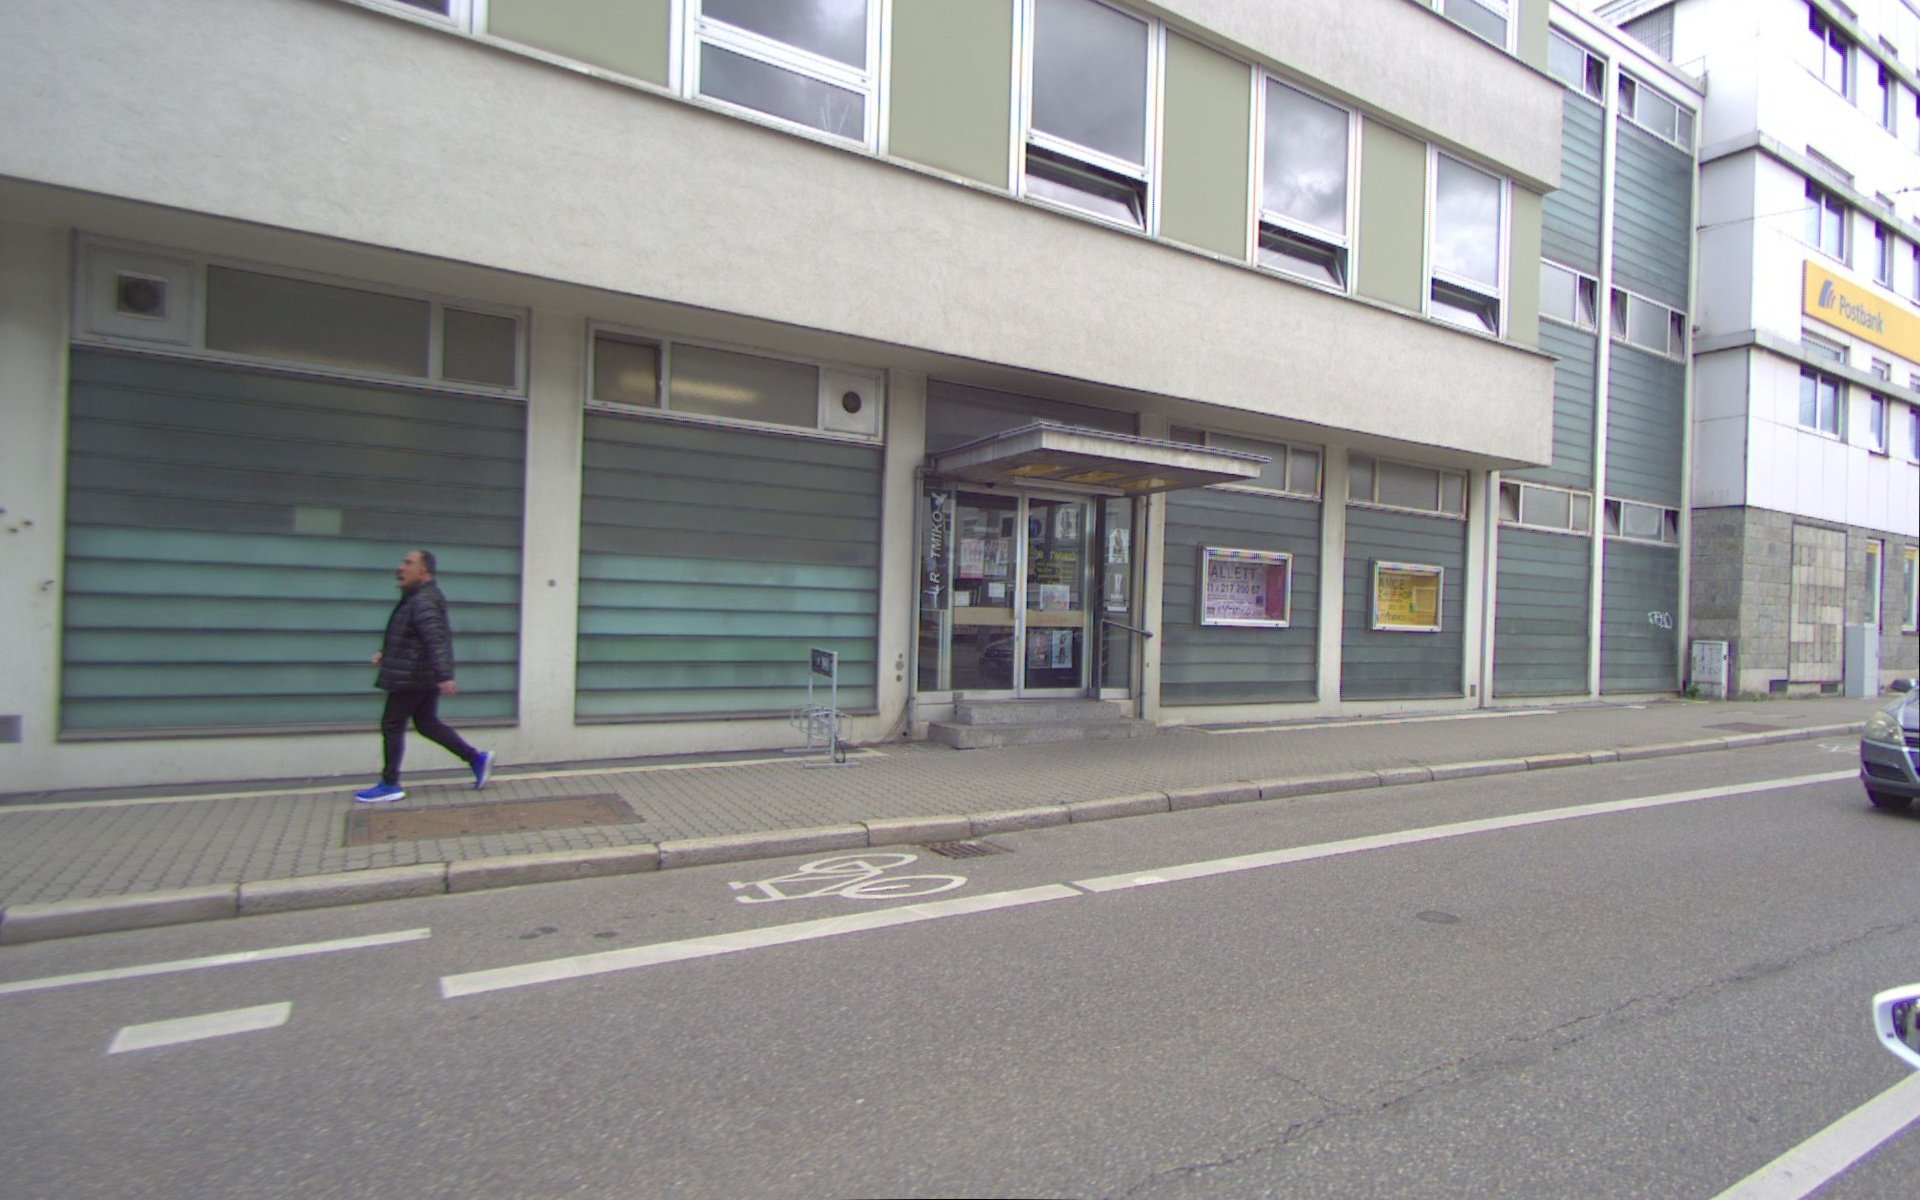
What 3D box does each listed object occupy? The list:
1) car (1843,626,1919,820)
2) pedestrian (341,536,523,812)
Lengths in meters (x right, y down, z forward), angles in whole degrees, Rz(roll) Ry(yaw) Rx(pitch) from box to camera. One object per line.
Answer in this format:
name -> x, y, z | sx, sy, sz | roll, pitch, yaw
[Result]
car -> 9.213, 0.989, 8.397 | 3.875, 1.485, 1.649 | 2, -1, -31
pedestrian -> -3.665, 0.468, 6.958 | 1.020, 1.741, 0.856 | 1, 1, -33
